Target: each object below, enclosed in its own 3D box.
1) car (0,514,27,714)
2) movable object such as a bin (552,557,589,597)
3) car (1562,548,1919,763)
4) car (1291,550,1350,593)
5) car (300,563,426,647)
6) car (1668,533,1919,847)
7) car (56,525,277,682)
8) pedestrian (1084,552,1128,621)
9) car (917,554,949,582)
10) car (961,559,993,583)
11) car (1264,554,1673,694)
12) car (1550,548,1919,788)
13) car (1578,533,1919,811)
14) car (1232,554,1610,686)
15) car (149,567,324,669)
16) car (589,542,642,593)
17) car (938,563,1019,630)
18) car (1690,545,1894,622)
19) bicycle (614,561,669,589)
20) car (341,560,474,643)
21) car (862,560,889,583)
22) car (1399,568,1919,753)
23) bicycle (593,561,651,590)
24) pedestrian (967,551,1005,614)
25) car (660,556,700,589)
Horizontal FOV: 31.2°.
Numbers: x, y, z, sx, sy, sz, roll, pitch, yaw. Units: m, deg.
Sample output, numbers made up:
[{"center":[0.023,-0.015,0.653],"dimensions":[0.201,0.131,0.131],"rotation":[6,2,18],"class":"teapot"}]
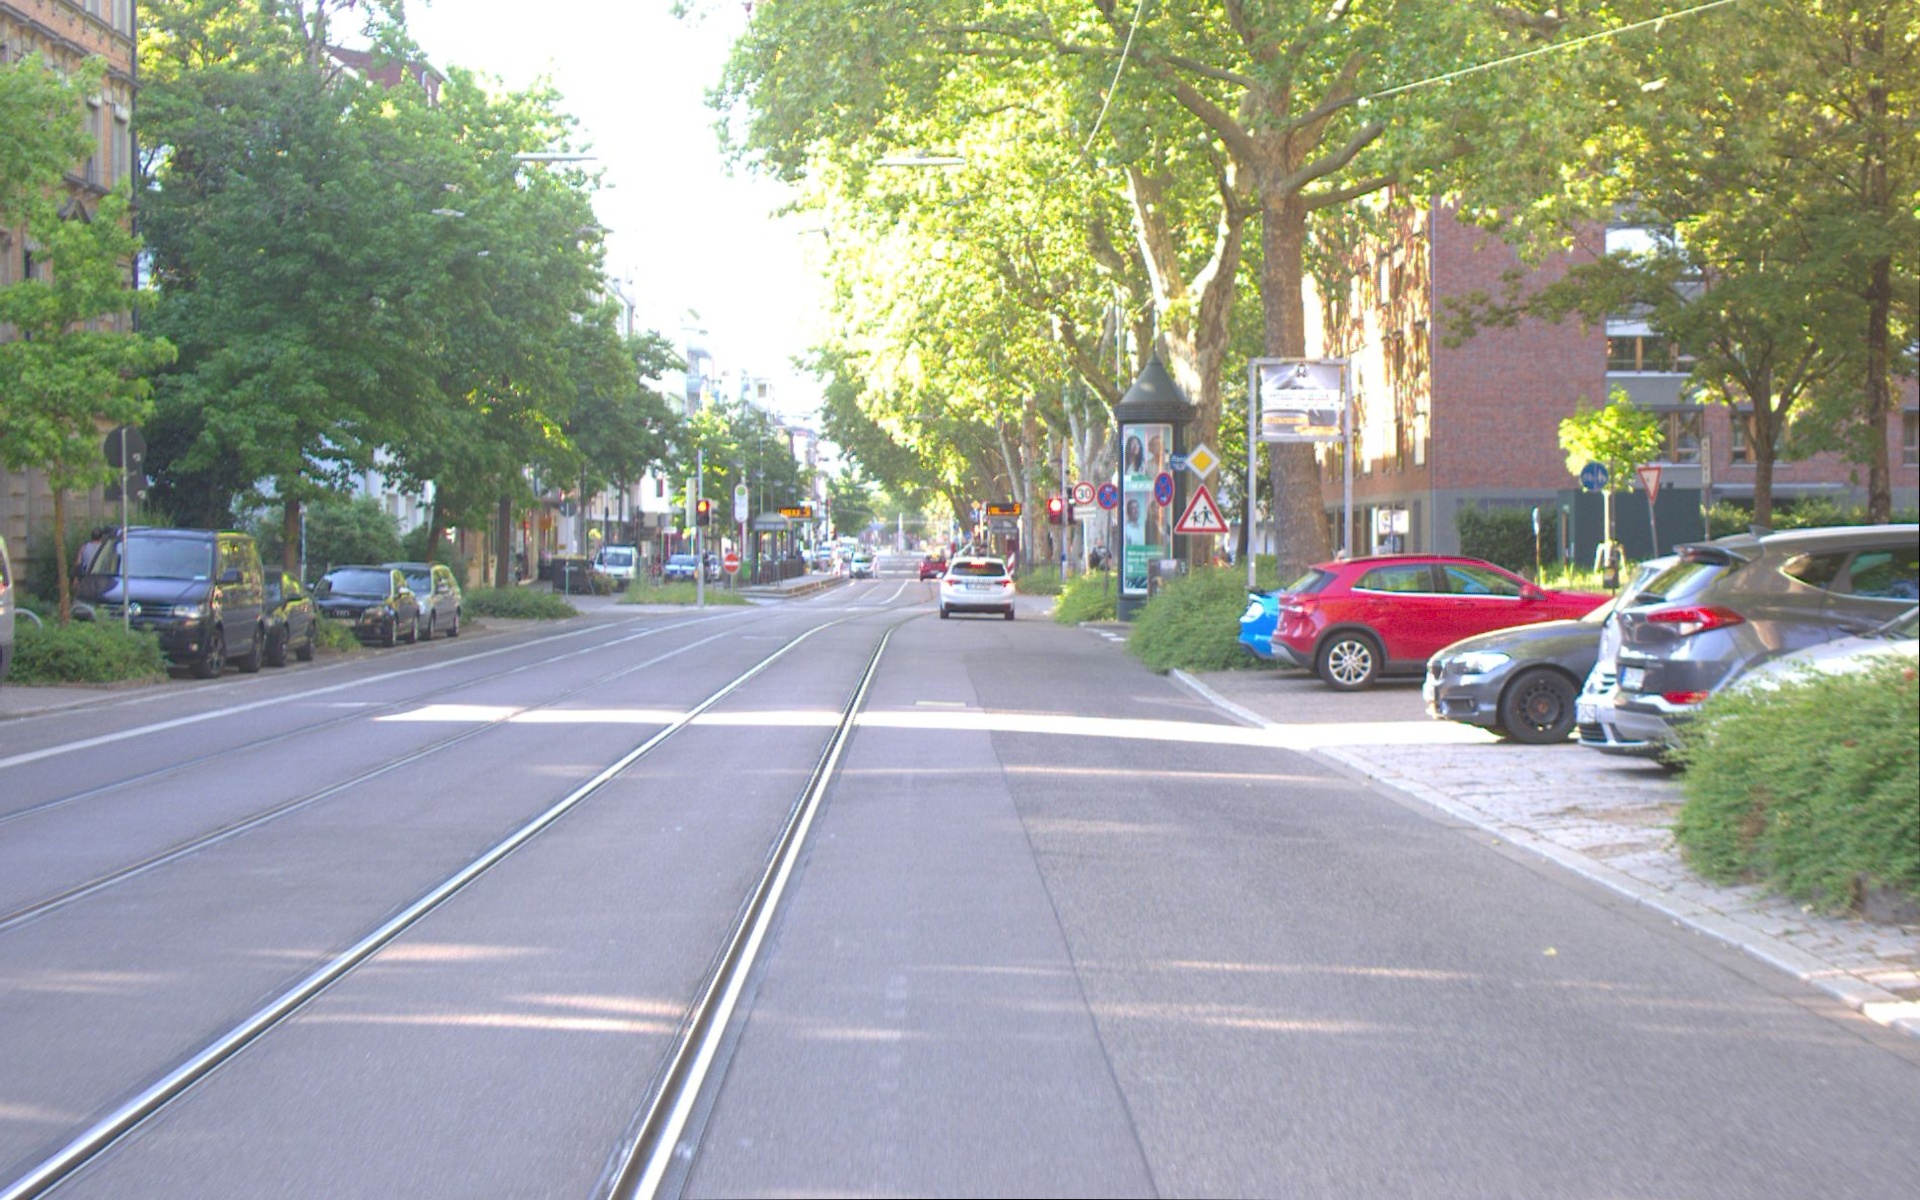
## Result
[{"center":[-10.417,0.164,32.440],"dimensions":[1.843,1.982,4.988],"rotation":[0,1,0],"class":"car"},{"center":[-13.527,-0.800,119.360],"dimensions":[1.169,1.344,0.783],"rotation":[3,0,-5],"class":"movable object such as a bin"},{"center":[6.760,0.385,25.793],"dimensions":[4.200,1.550,1.817],"rotation":[0,1,2],"class":"car"},{"center":[12.635,-0.997,120.587],"dimensions":[1.600,1.490,3.417],"rotation":[0,1,-2],"class":"car"},{"center":[-10.771,0.072,62.190],"dimensions":[1.658,1.440,3.949],"rotation":[1,1,-1],"class":"car"},{"center":[6.093,0.445,18.543],"dimensions":[4.200,1.613,1.817],"rotation":[0,1,2],"class":"car"},{"center":[-10.712,0.012,46.756],"dimensions":[1.993,2.007,4.835],"rotation":[0,1,-2],"class":"car"},{"center":[4.128,-0.388,97.327],"dimensions":[0.982,1.857,1.016],"rotation":[-4,1,-6],"class":"pedestrian"},{"center":[-1.508,-1.774,191.409],"dimensions":[1.788,1.508,4.000],"rotation":[0,1,-1],"class":"car"},{"center":[1.063,-1.854,218.916],"dimensions":[1.993,1.448,4.000],"rotation":[0,1,-1],"class":"car"},{"center":[5.723,0.255,39.092],"dimensions":[4.403,1.537,1.952],"rotation":[0,1,2],"class":"car"},{"center":[6.275,0.432,23.497],"dimensions":[4.200,1.568,1.817],"rotation":[0,1,2],"class":"car"},{"center":[6.094,0.398,21.097],"dimensions":[4.199,1.613,1.879],"rotation":[0,1,-3],"class":"car"},{"center":[5.514,0.232,41.375],"dimensions":[4.404,1.537,1.817],"rotation":[0,1,7],"class":"car"},{"center":[-10.871,0.236,51.928],"dimensions":[1.853,1.453,4.270],"rotation":[0,1,-2],"class":"car"},{"center":[-13.292,-1.266,132.755],"dimensions":[1.688,1.933,4.000],"rotation":[0,1,-1],"class":"car"},{"center":[0.408,-0.102,79.712],"dimensions":[1.788,1.508,4.000],"rotation":[0,1,-1],"class":"car"},{"center":[16.264,-0.333,67.285],"dimensions":[3.537,1.447,1.684],"rotation":[-1,1,-2],"class":"car"},{"center":[-13.671,-1.061,147.620],"dimensions":[2.253,1.070,0.636],"rotation":[3,1,1],"class":"bicycle"},{"center":[-10.830,-0.006,67.703],"dimensions":[1.700,1.545,4.536],"rotation":[1,1,2],"class":"car"},{"center":[-5.323,-1.790,216.833],"dimensions":[1.693,1.414,4.000],"rotation":[0,1,-1],"class":"car"},{"center":[5.833,0.474,28.260],"dimensions":[4.199,1.443,1.818],"rotation":[0,1,-1],"class":"car"},{"center":[-13.773,-0.992,140.216],"dimensions":[2.253,1.070,0.636],"rotation":[3,1,1],"class":"bicycle"},{"center":[0.750,-0.521,99.973],"dimensions":[0.994,1.805,0.864],"rotation":[-1,1,-6],"class":"pedestrian"},{"center":[-13.424,-1.328,164.935],"dimensions":[1.593,1.543,4.000],"rotation":[2,1,-1],"class":"car"}]
